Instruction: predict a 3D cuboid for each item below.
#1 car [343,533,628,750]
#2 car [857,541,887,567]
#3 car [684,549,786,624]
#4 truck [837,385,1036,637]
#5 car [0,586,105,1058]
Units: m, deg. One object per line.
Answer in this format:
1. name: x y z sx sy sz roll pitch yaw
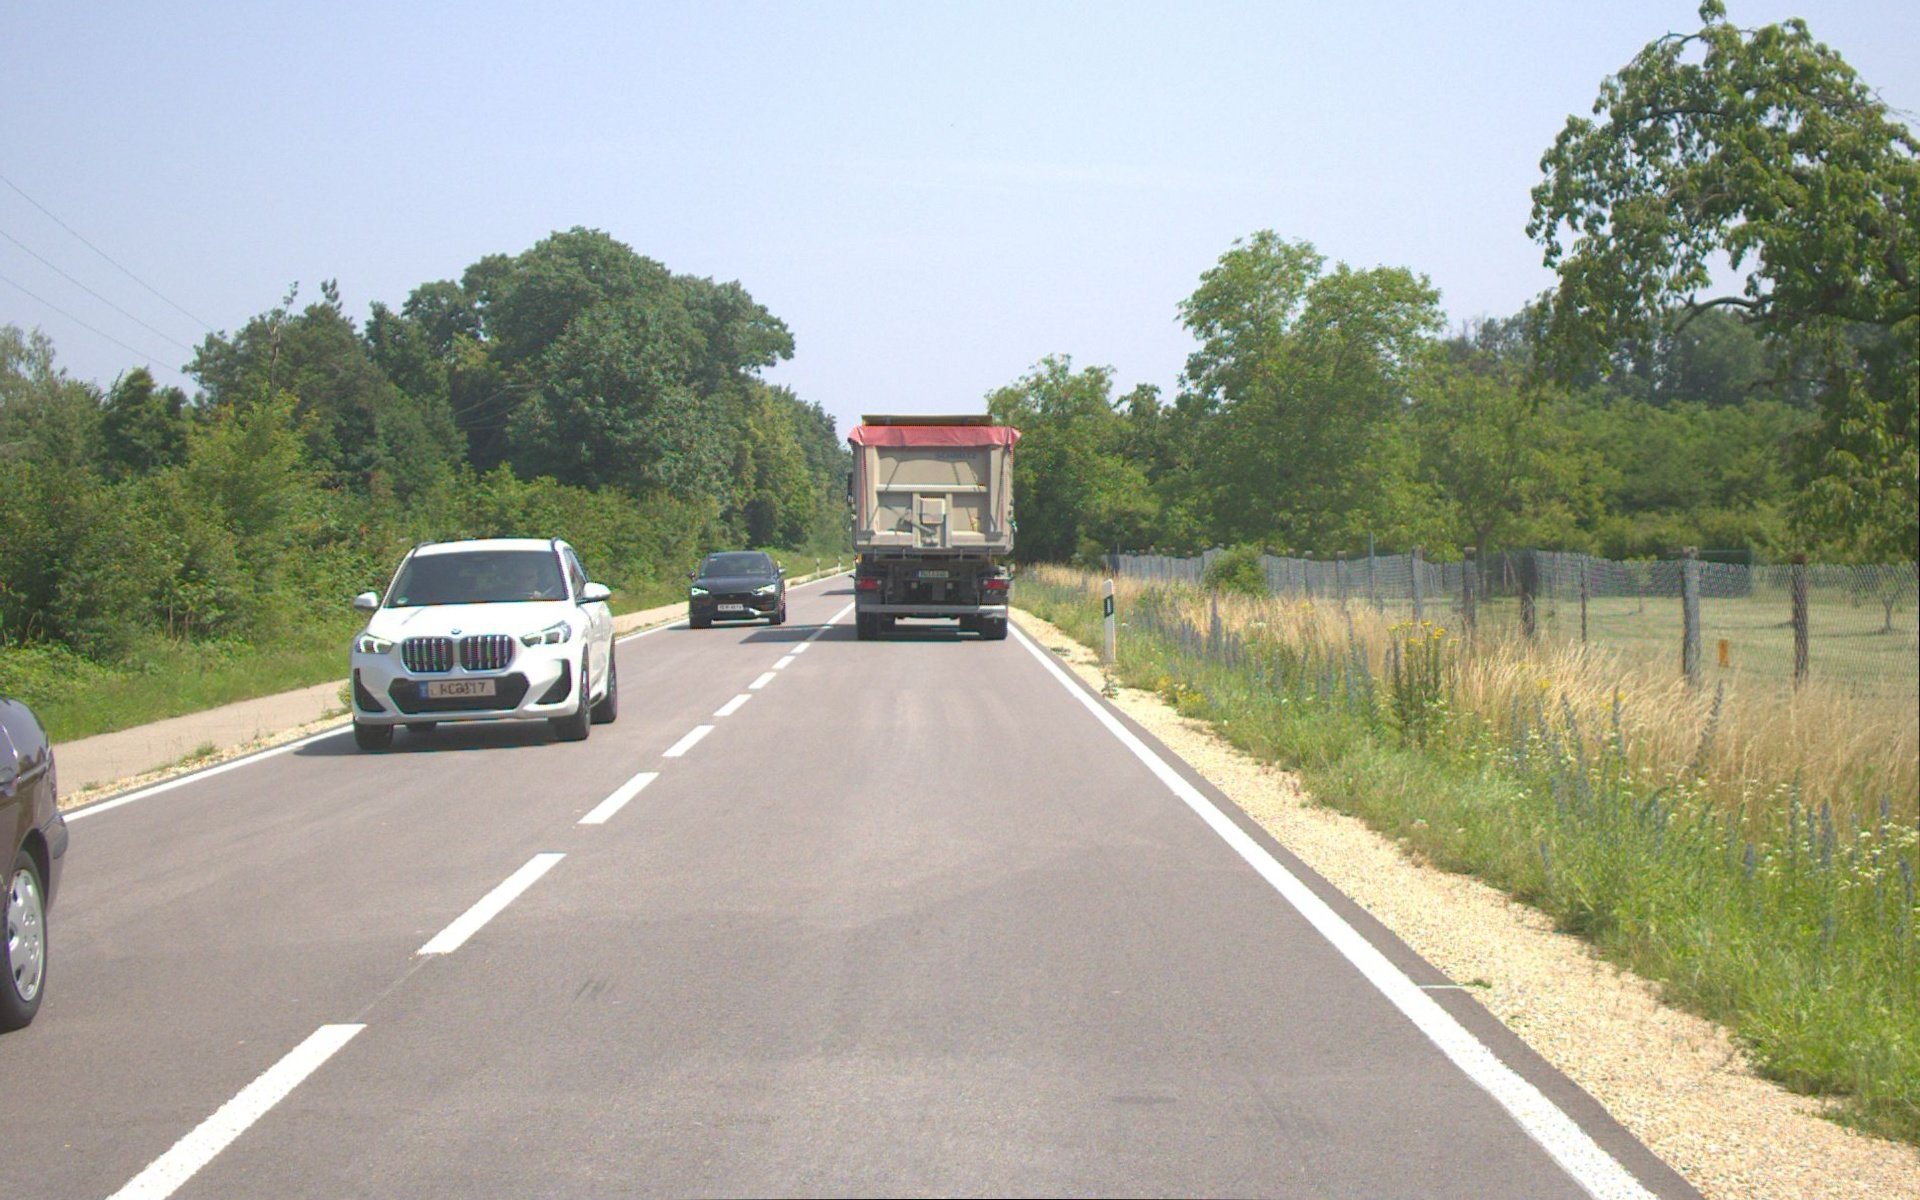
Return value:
1. car: -3.863 0.282 28.667 1.758 1.601 4.481 -2 1 -1
2. car: -5.525 -2.894 215.255 1.758 1.535 4.046 -2 1 -1
3. car: -4.412 -0.285 67.856 1.758 1.353 4.046 -2 1 -1
4. truck: -0.437 -1.463 59.869 3.009 3.861 12.210 1 1 -1
5. car: -3.737 0.719 9.646 1.694 1.401 4.046 -2 1 -1
